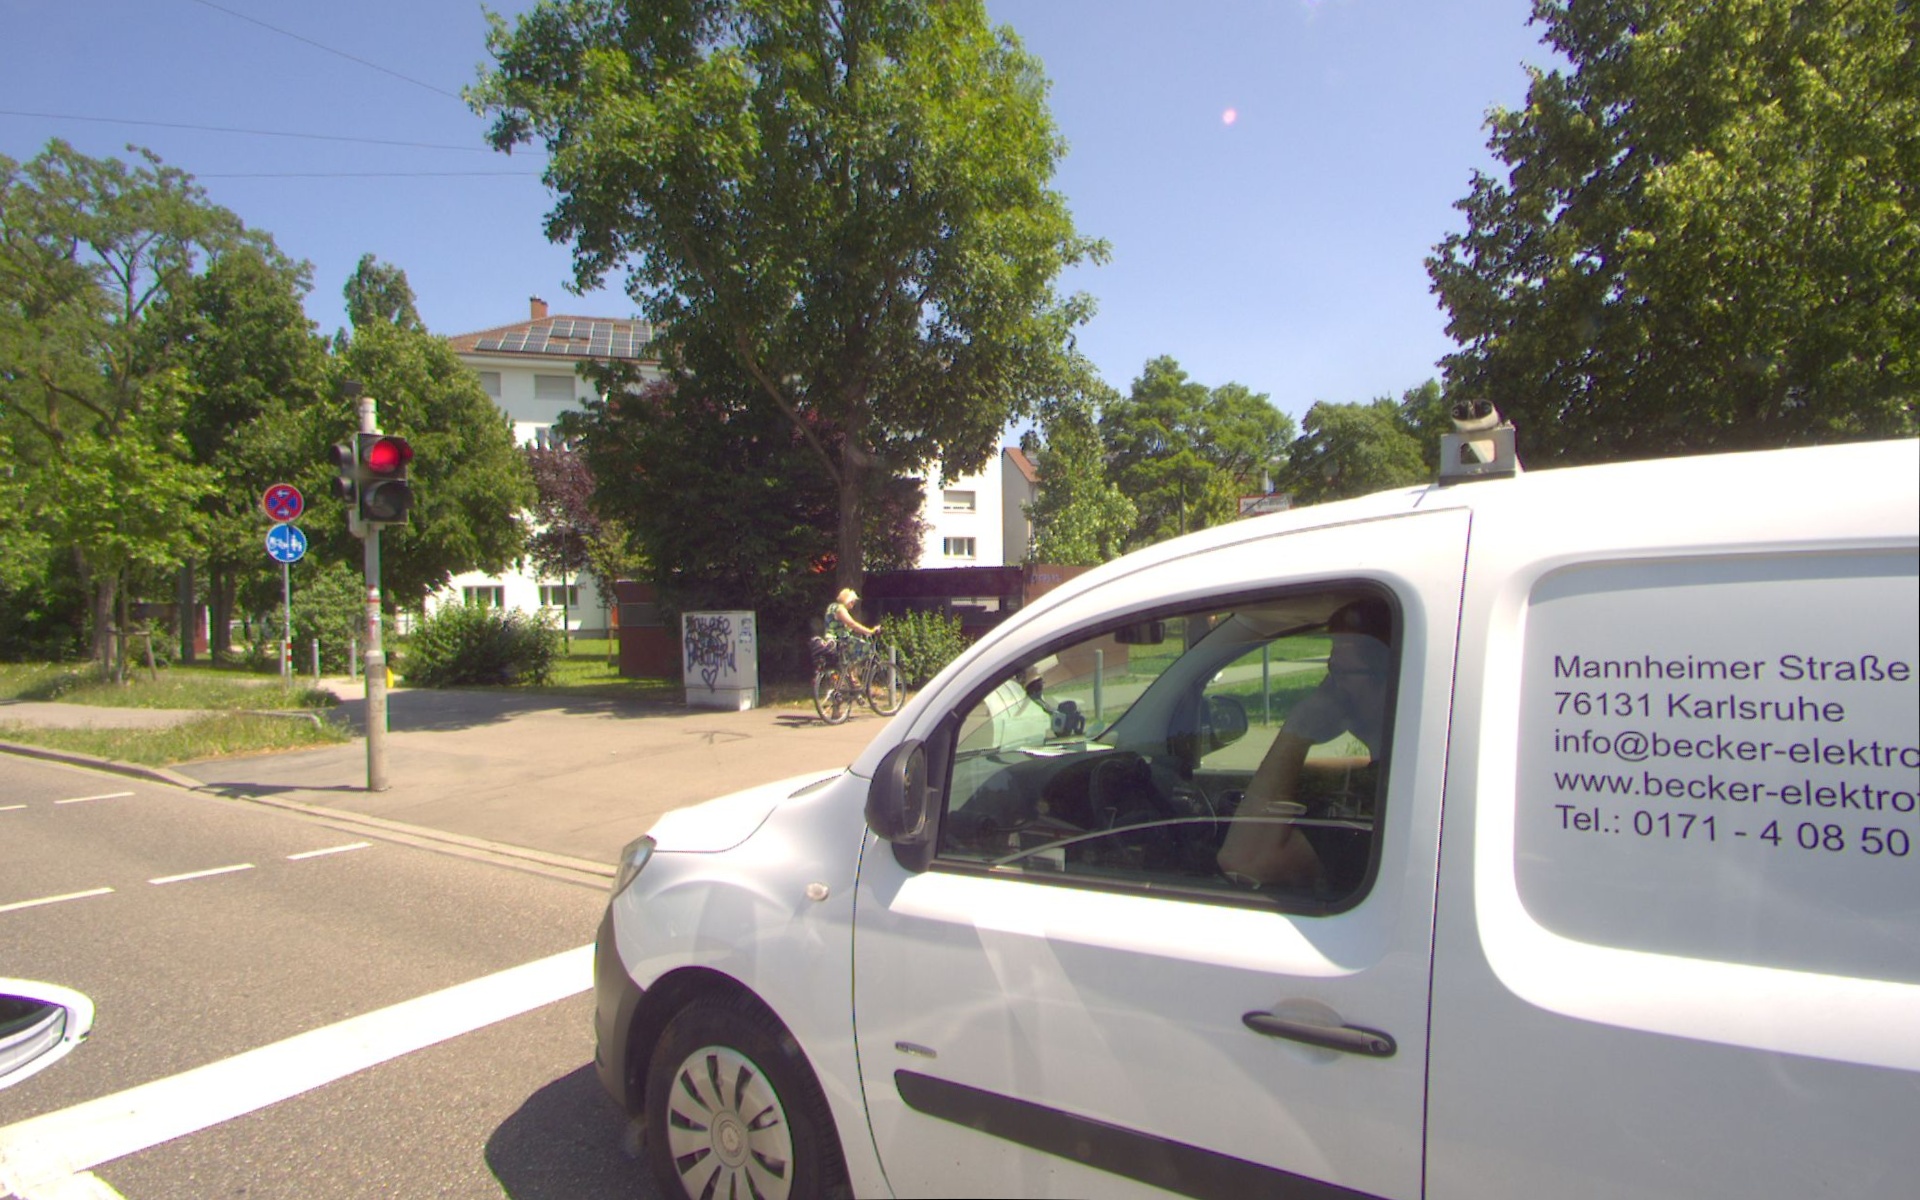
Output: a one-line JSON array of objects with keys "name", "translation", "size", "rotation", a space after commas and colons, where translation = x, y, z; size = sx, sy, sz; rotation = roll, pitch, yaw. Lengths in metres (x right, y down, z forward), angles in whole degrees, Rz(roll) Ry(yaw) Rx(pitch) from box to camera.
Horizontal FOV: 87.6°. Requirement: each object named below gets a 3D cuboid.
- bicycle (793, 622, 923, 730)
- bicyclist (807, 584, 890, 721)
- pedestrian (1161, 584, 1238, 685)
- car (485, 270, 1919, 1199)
[{"name": "bicycle", "translation": [-1.235, 0.909, 12.596], "size": [0.533, 1.177, 1.953], "rotation": [0, 1, 32]}, {"name": "bicyclist", "translation": [-1.423, 0.643, 12.877], "size": [0.572, 1.689, 0.955], "rotation": [0, 2, 32]}, {"name": "pedestrian", "translation": [4.457, 0.622, 18.616], "size": [1.176, 1.801, 0.832], "rotation": [-3, 1, -43]}, {"name": "car", "translation": [1.127, 0.566, 2.302], "size": [4.384, 1.850, 1.990], "rotation": [-1, 0, 32]}]
